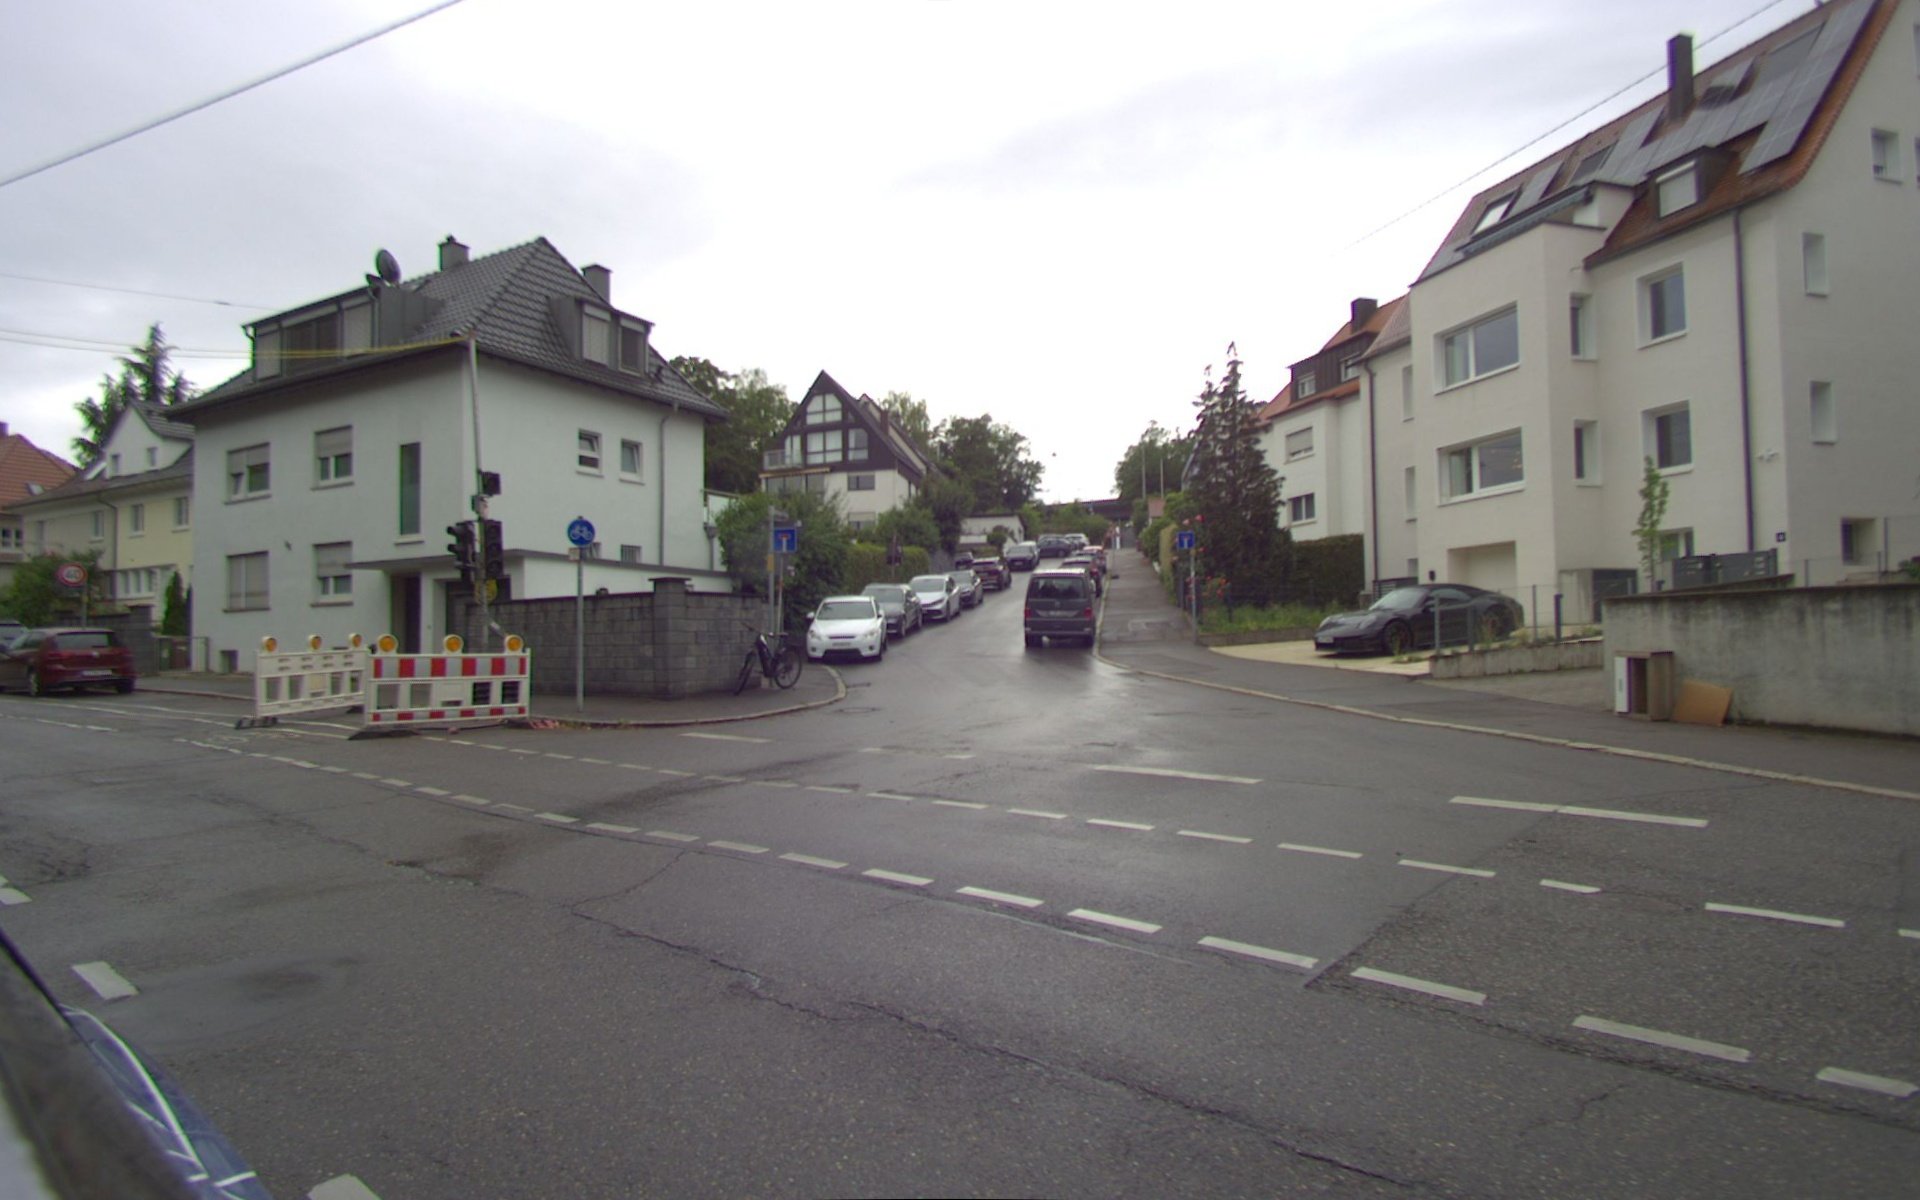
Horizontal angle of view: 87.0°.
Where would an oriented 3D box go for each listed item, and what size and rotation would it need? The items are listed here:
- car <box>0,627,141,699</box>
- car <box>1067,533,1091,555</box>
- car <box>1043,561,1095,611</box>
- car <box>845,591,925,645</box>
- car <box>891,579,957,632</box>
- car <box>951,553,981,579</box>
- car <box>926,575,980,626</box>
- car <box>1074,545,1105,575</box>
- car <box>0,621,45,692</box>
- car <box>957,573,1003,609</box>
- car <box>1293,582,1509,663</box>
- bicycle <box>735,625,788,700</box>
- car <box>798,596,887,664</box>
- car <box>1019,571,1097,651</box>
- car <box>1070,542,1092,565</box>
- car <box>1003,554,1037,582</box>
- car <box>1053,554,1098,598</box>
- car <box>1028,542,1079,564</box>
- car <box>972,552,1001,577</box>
[{"bbox_3d":[-20.071,1.366,22.437,4.214,1.451,1.605,-2,-2,31],"label":"car"},{"bbox_3d":[12.131,-5.689,103.181,1.981,2.029,3.982,0,1,14],"label":"car"},{"bbox_3d":[4.236,-0.591,38.943,1.847,1.758,3.991,0,3,8],"label":"car"},{"bbox_3d":[-2.205,0.487,30.704,1.867,1.477,3.995,0,1,4],"label":"car"},{"bbox_3d":[-1.214,0.144,35.788,1.868,1.733,3.994,0,1,5],"label":"car"},{"bbox_3d":[0.381,-2.264,68.246,1.864,1.733,4.002,0,1,-2],"label":"car"},{"bbox_3d":[-0.231,-0.009,41.646,1.868,2.007,3.994,0,1,5],"label":"car"},{"bbox_3d":[7.934,-2.466,61.768,1.847,1.758,3.991,0,3,8],"label":"car"},{"bbox_3d":[-24.713,1.390,24.893,4.381,1.671,1.744,-2,-4,26],"label":"car"},{"bbox_3d":[1.043,-0.474,50.958,1.869,1.733,3.990,0,1,8],"label":"car"},{"bbox_3d":[8.983,0.436,20.683,3.754,1.519,1.740,-1,-1,-16],"label":"car"},{"bbox_3d":[-3.338,1.031,17.124,0.458,1.133,1.516,0,1,6],"label":"bicycle"},{"bbox_3d":[-2.793,0.673,24.897,1.864,1.477,4.002,0,1,-2],"label":"car"},{"bbox_3d":[2.784,0.213,27.914,1.977,1.933,3.991,0,3,8],"label":"car"},{"bbox_3d":[11.694,-4.469,97.613,1.978,2.029,3.988,0,1,9],"label":"car"},{"bbox_3d":[3.993,-2.091,66.842,1.869,1.733,3.990,0,1,8],"label":"car"},{"bbox_3d":[5.075,-1.095,44.219,1.847,1.758,3.991,0,3,8],"label":"car"},{"bbox_3d":[7.650,-3.791,82.565,3.956,1.733,1.885,0,1,11],"label":"car"},{"bbox_3d":[1.879,-2.559,73.051,1.864,1.733,4.002,0,1,-2],"label":"car"}]
